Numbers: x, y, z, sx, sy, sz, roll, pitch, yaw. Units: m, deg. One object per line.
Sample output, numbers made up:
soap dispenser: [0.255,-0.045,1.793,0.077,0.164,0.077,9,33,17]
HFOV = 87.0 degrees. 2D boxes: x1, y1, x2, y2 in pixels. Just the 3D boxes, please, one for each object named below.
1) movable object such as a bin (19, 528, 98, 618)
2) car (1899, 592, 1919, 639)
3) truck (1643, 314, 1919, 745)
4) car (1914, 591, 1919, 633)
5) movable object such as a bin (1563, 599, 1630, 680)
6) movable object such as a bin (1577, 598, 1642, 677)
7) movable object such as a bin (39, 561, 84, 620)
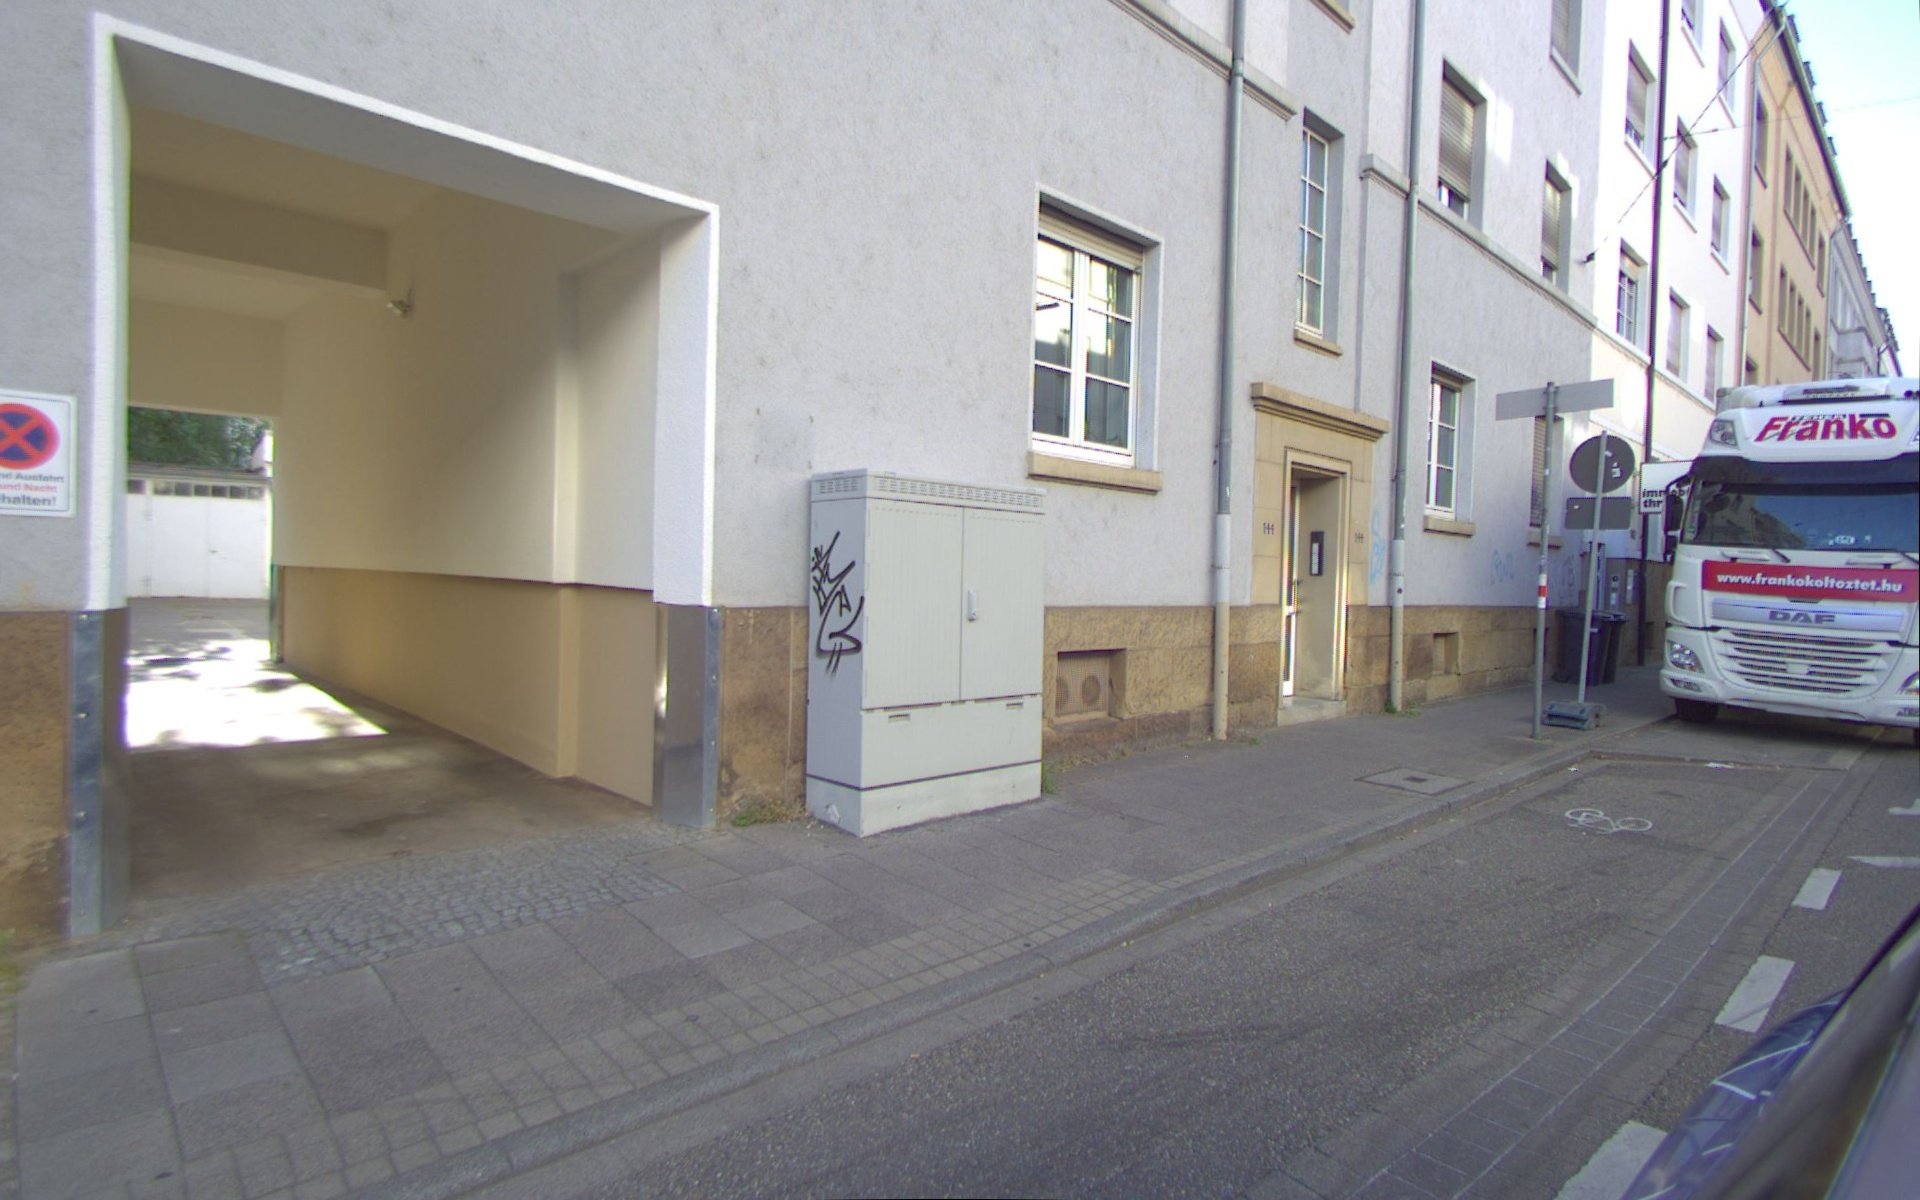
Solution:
movable object such as a bin: [-15.158,-0.460,17.013,0.946,1.426,1.597,0,2,-43]
car: [33.499,0.526,34.731,4.080,1.551,1.681,0,0,-44]
truck: [12.571,-0.682,13.877,11.621,3.975,2.778,0,2,-44]
car: [37.669,0.458,38.629,4.080,1.551,1.681,0,0,-44]
movable object such as a bin: [9.167,0.547,14.585,0.560,1.107,0.665,0,2,-43]
movable object such as a bin: [9.646,0.539,15.036,0.560,1.107,0.665,0,2,-43]
movable object such as a bin: [-14.381,-0.153,16.194,0.518,0.922,0.580,0,2,-43]
